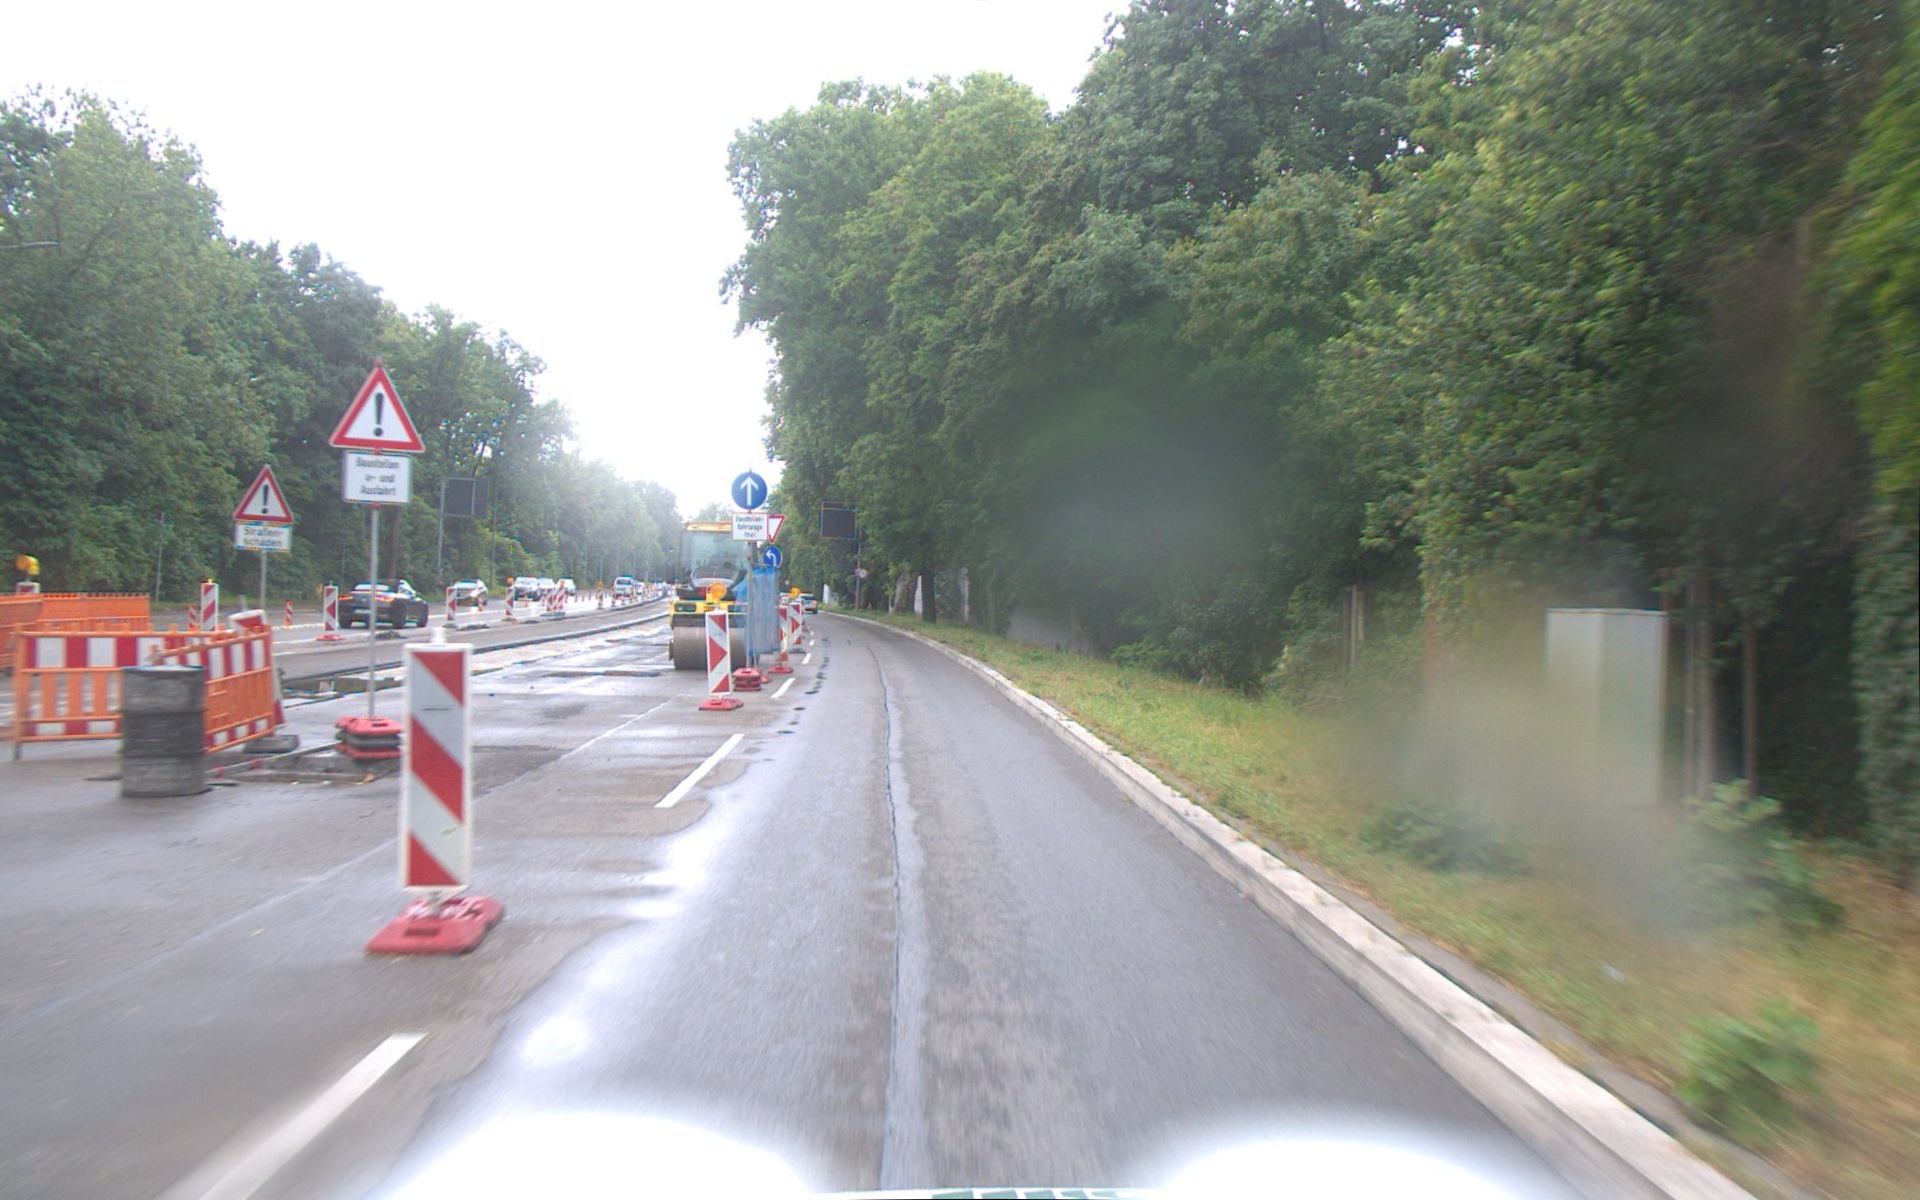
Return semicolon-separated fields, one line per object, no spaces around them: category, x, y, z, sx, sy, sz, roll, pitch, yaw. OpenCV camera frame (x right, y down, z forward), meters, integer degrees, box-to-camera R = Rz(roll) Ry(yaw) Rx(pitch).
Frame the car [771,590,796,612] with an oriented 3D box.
car;-12.753;0.067;119.361;1.723;1.367;3.995;3;1;-7

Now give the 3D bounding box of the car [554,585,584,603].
car;-38.055;-0.604;160.936;1.888;1.694;4.651;1;0;-1

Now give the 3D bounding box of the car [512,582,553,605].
car;-31.656;-0.487;122.563;1.888;1.694;4.651;1;0;-1

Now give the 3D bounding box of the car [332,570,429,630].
car;-17.405;-0.031;49.862;1.826;1.517;3.996;3;2;-6

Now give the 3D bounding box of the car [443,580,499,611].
car;-28.246;-0.266;95.715;1.888;1.694;4.651;1;0;-1

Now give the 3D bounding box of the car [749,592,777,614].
car;-16.727;0.255;140.353;1.837;1.646;3.999;4;1;-1

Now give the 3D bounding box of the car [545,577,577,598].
car;-32.851;-1.046;136.227;1.890;1.694;4.647;1;0;-5

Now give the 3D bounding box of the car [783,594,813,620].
car;-9.942;0.397;101.568;1.723;1.367;3.995;3;1;-7

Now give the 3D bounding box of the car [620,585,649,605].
car;-30.773;-0.452;156.572;1.888;1.809;4.651;1;0;-1

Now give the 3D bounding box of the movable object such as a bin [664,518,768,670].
movable object such as a bin;-4.936;-0.121;33.794;1.711;2.917;3.532;1;0;-3

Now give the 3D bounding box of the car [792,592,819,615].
car;-11.847;0.273;126.954;1.878;1.625;4.827;2;1;-7

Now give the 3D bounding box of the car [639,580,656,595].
car;-34.881;-1.367;184.518;1.539;1.482;3.367;4;1;-15
